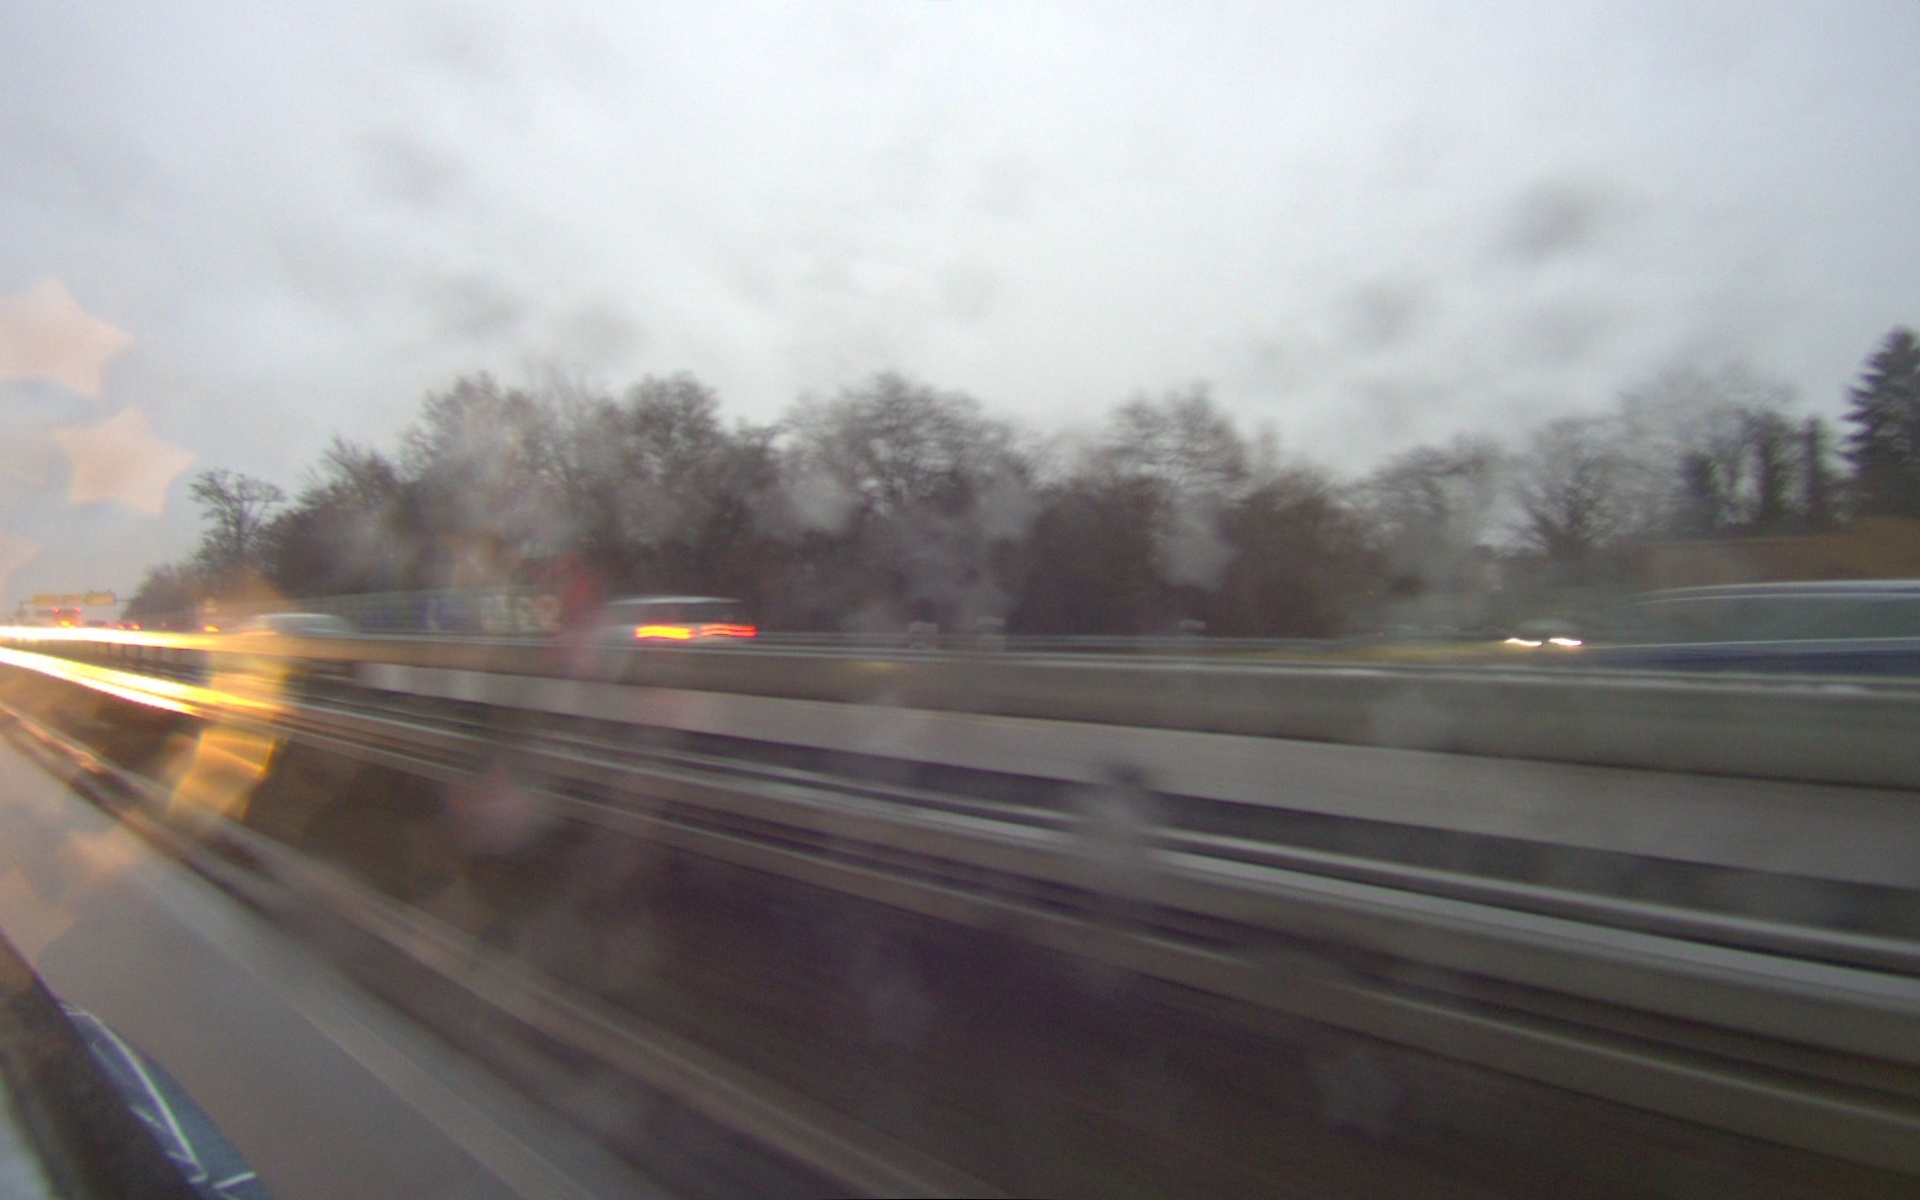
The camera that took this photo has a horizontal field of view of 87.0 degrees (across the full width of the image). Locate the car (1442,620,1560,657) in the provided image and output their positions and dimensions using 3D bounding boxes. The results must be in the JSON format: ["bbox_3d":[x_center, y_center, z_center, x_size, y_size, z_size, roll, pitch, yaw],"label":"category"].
[{"bbox_3d":[19.244,1.321,35.970,3.931,1.170,1.808,-1,0,-29],"label":"car"}]

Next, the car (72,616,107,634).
[{"bbox_3d":[-75.179,2.143,87.402,4.285,1.525,1.971,-1,-1,45],"label":"car"}]

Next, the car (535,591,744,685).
[{"bbox_3d":[-6.443,0.698,20.081,4.644,1.639,1.846,-1,-1,42],"label":"car"}]

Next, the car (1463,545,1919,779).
[{"bbox_3d":[6.909,0.439,8.175,4.777,1.639,1.846,-1,-1,42],"label":"car"}]

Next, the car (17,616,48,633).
[{"bbox_3d":[-85.289,2.215,93.067,4.673,1.493,1.844,-1,-1,44],"label":"car"}]

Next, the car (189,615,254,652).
[{"bbox_3d":[-34.933,1.548,47.843,4.178,1.619,1.708,-1,-1,42],"label":"car"}]

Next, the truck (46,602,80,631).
[{"bbox_3d":[-124.022,2.218,139.877,3.042,3.886,9.375,0,-1,-44],"label":"truck"}]

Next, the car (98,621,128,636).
[{"bbox_3d":[-86.776,2.911,103.674,4.798,1.525,1.971,-1,-1,45],"label":"car"}]

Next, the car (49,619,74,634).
[{"bbox_3d":[-104.546,3.049,117.734,4.002,1.661,1.971,-1,-1,44],"label":"car"}]

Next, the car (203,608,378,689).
[{"bbox_3d":[-13.705,0.918,20.615,4.644,1.460,1.846,-1,-1,42],"label":"car"}]
